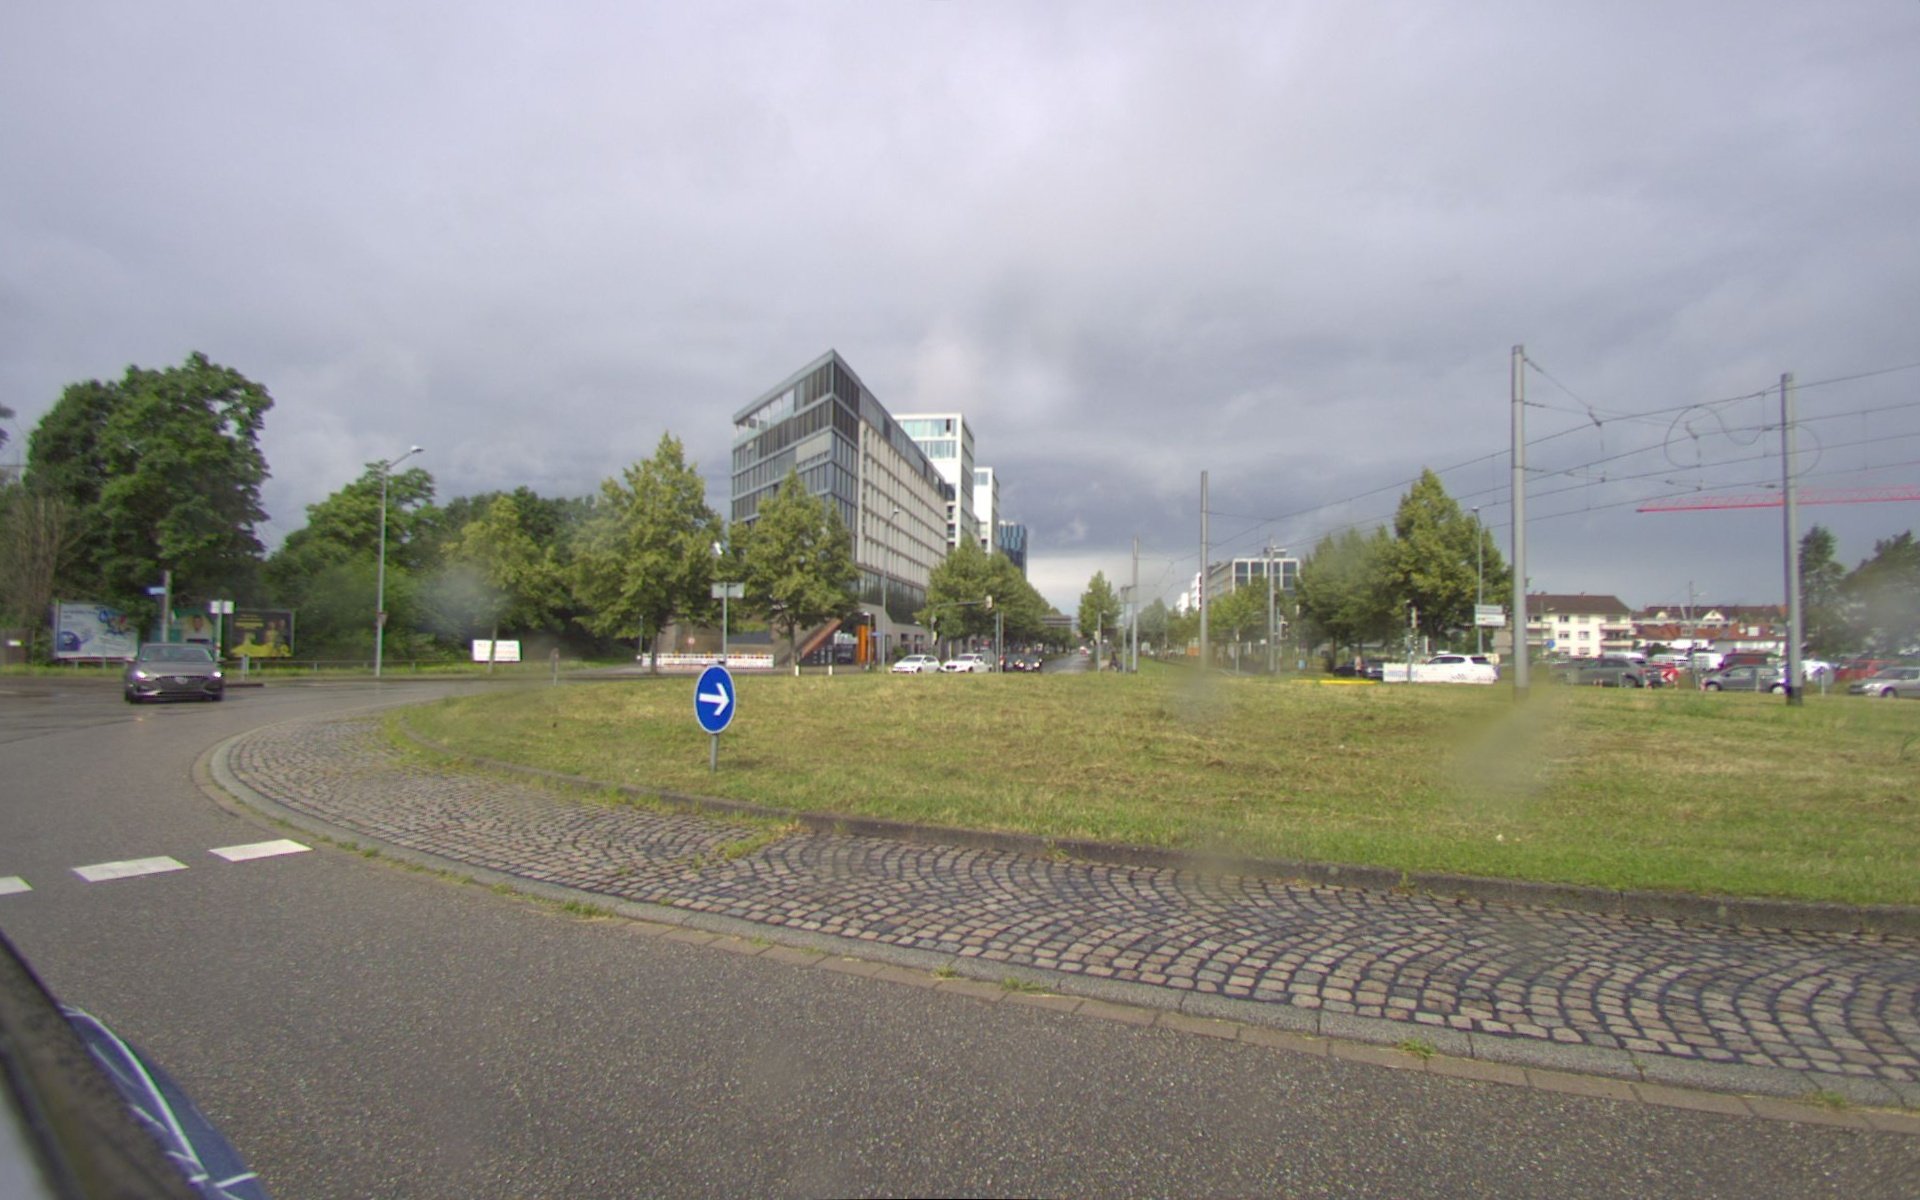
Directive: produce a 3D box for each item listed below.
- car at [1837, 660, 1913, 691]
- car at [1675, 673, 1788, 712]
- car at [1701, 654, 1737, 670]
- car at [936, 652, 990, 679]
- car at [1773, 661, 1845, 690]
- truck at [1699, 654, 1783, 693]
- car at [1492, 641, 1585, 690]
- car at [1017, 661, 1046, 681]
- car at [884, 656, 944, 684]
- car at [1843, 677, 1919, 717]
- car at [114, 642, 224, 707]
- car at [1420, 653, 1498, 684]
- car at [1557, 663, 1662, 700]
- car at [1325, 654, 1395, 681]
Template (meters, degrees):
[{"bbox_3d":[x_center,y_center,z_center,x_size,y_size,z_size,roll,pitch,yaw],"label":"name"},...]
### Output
[{"bbox_3d":[59.488,4.893,65.895,1.910,1.713,3.985,0,-1,12],"label":"car"},{"bbox_3d":[35.273,4.190,46.389,3.991,1.597,1.776,-2,-3,35],"label":"car"},{"bbox_3d":[84.446,6.850,112.634,1.482,1.736,3.593,0,-3,6],"label":"car"},{"bbox_3d":[0.229,3.870,60.149,1.718,1.519,3.869,-1,-4,26],"label":"car"},{"bbox_3d":[57.704,5.107,68.863,1.836,1.713,3.990,1,-1,8],"label":"car"},{"bbox_3d":[52.190,4.856,67.801,2.377,2.228,6.067,0,-1,17],"label":"truck"},{"bbox_3d":[31.516,3.539,55.248,1.767,2.587,4.011,2,-3,-32],"label":"car"},{"bbox_3d":[5.603,5.529,78.919,1.709,1.519,3.889,-1,-3,12],"label":"car"},{"bbox_3d":[-2.824,4.386,63.083,1.856,1.685,4.431,-2,-5,25],"label":"car"},{"bbox_3d":[39.701,4.082,42.596,3.462,1.572,1.545,0,-3,11],"label":"car"},{"bbox_3d":[-19.416,1.769,24.773,1.709,1.424,4.131,1,-3,-44],"label":"car"},{"bbox_3d":[26.075,3.559,52.981,1.474,1.522,3.511,1,-3,-22],"label":"car"},{"bbox_3d":[29.755,3.710,46.450,1.548,1.572,3.686,2,-3,-36],"label":"car"},{"bbox_3d":[23.868,4.002,60.489,1.772,1.529,4.011,1,-3,-16],"label":"car"}]
